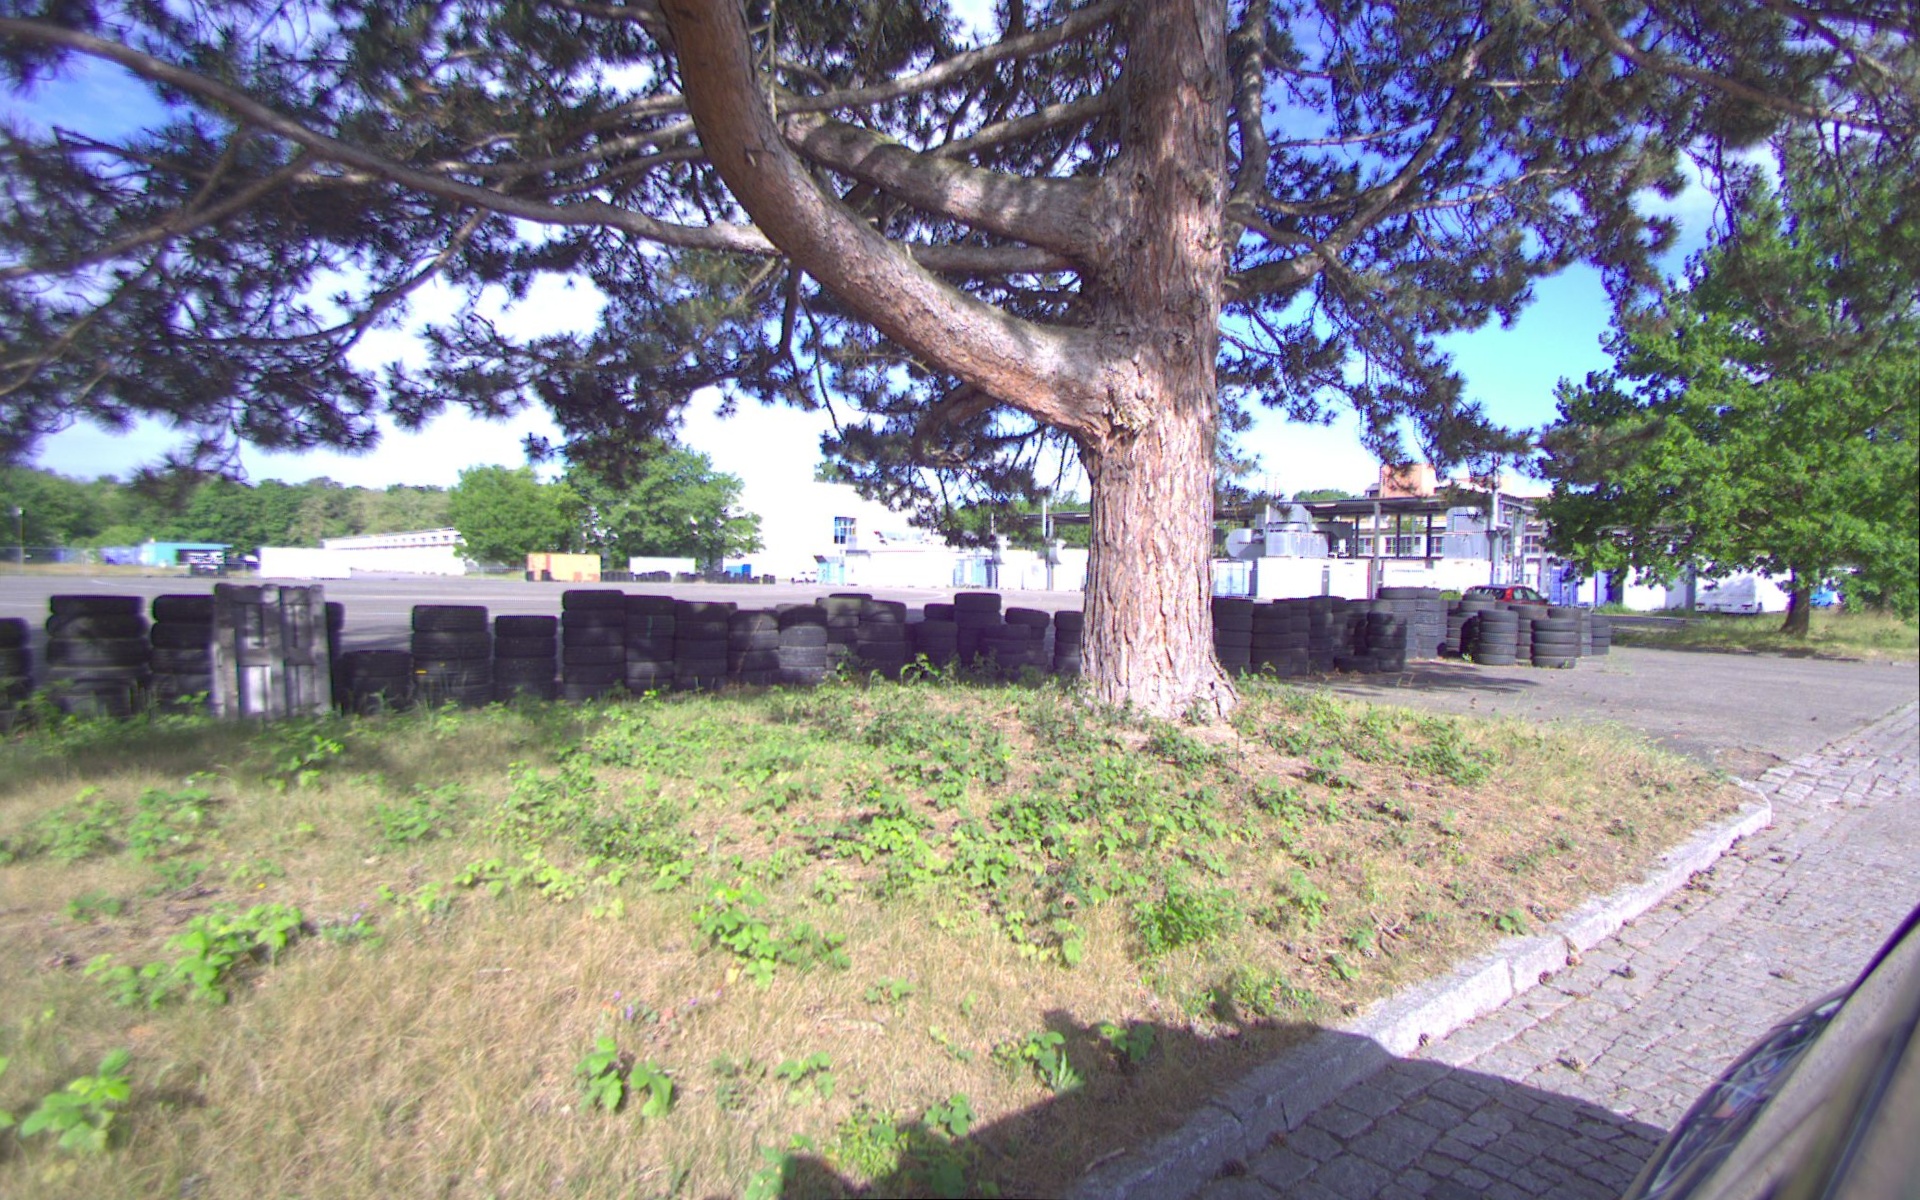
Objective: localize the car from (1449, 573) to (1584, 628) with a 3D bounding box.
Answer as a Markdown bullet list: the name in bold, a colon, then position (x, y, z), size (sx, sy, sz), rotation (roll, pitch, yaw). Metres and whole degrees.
- **car**: position (16.172, 0.000, 29.375), size (3.924, 1.466, 1.849), rotation (0, 2, -35)
